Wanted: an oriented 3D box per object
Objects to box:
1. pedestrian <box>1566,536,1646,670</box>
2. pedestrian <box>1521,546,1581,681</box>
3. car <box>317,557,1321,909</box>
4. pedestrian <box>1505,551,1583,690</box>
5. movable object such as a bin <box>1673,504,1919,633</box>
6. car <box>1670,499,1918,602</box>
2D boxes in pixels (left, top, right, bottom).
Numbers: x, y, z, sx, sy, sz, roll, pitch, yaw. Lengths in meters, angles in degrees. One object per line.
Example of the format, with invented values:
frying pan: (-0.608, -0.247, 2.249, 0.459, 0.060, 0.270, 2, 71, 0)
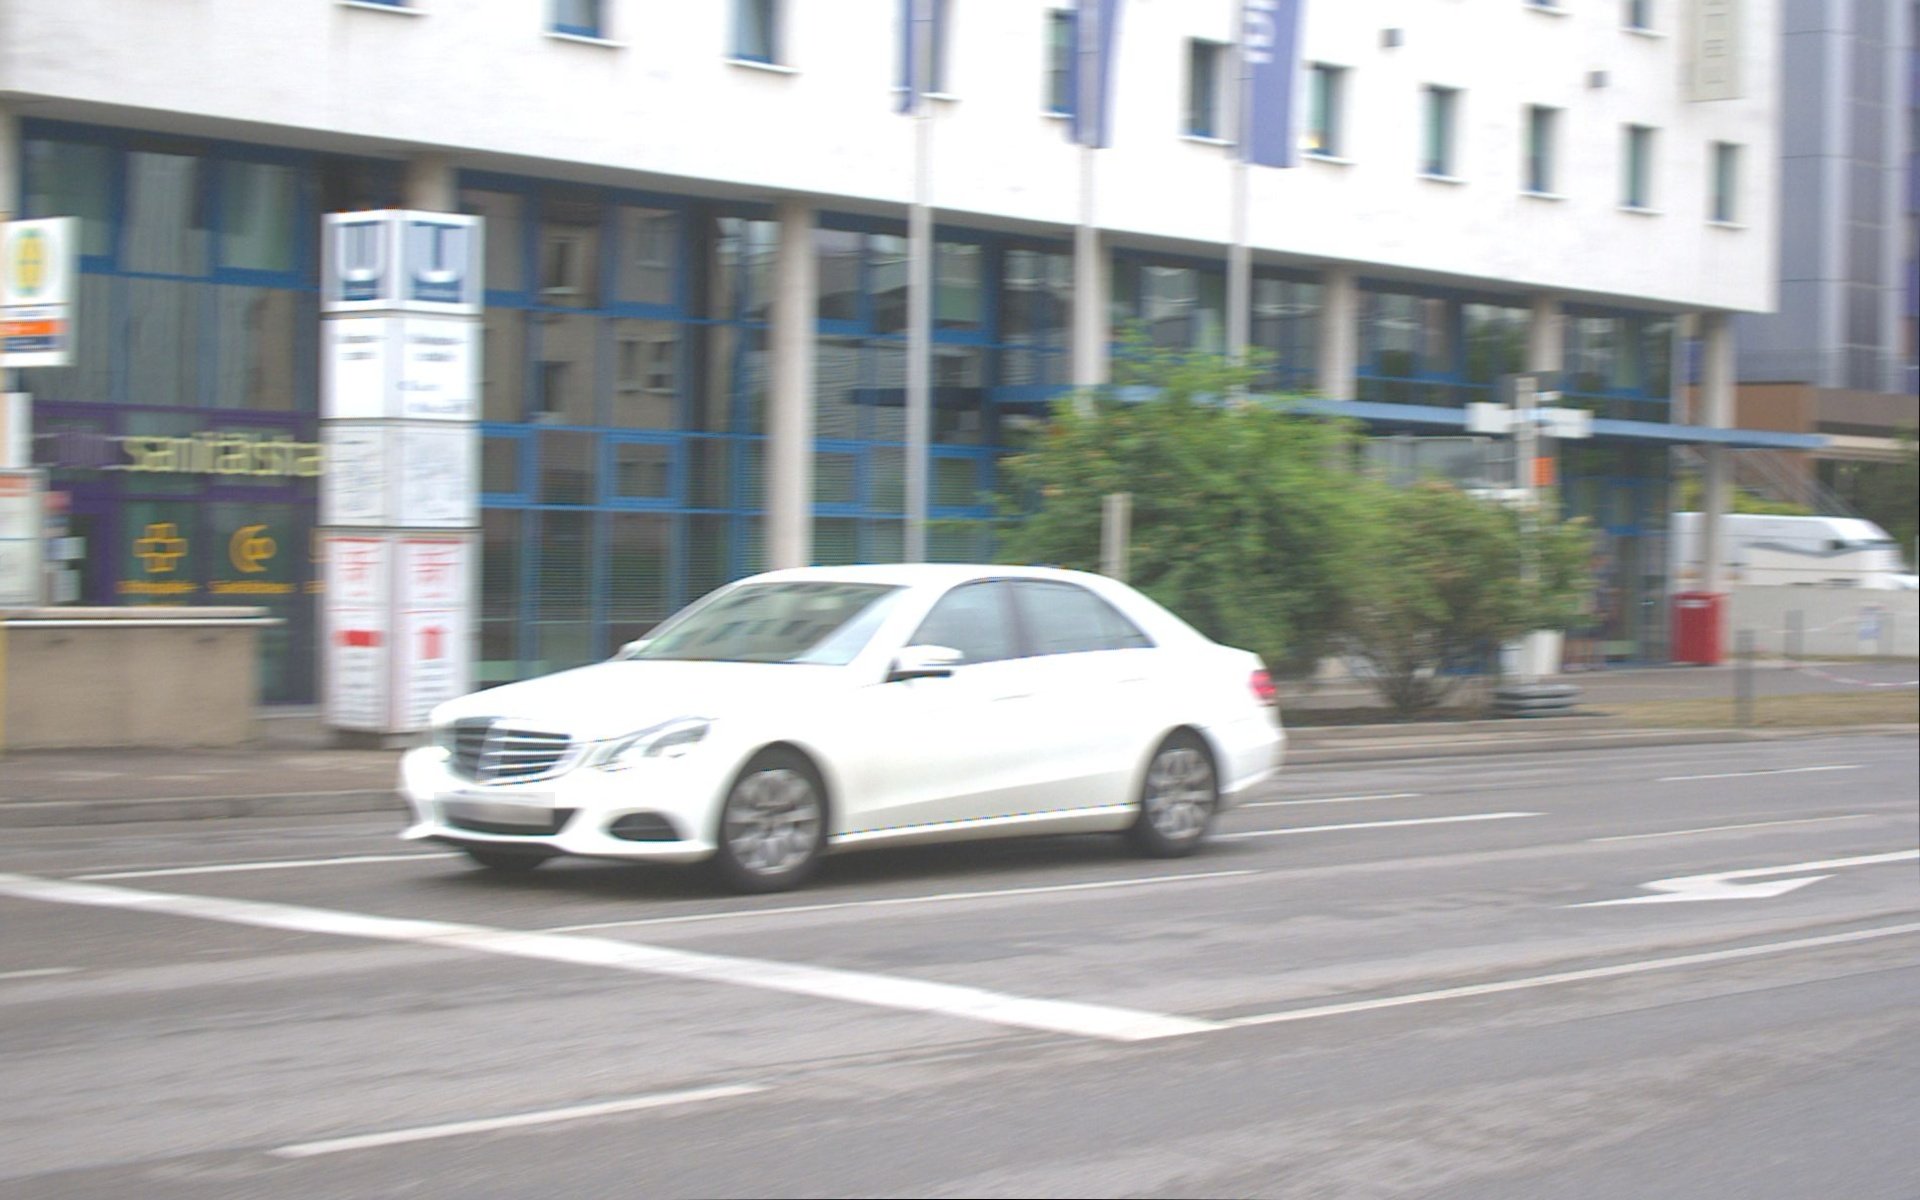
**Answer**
pedestrian: (9.951, 0.055, 52.939, 0.898, 2.007, 0.815, 2, -2, -19)
pedestrian: (8.948, 0.209, 52.045, 0.813, 2.007, 0.804, 1, -2, 14)
car: (-0.479, 0.546, 16.242, 1.822, 1.382, 4.951, 2, 1, 41)
pedestrian: (8.637, 0.312, 50.816, 0.804, 2.007, 0.813, -1, -3, 43)
movable object such as a bin: (18.499, -0.632, 74.421, 5.639, 2.619, 2.156, -1, -3, 42)
car: (17.513, -1.004, 72.324, 4.724, 2.007, 1.888, -1, -3, 42)
